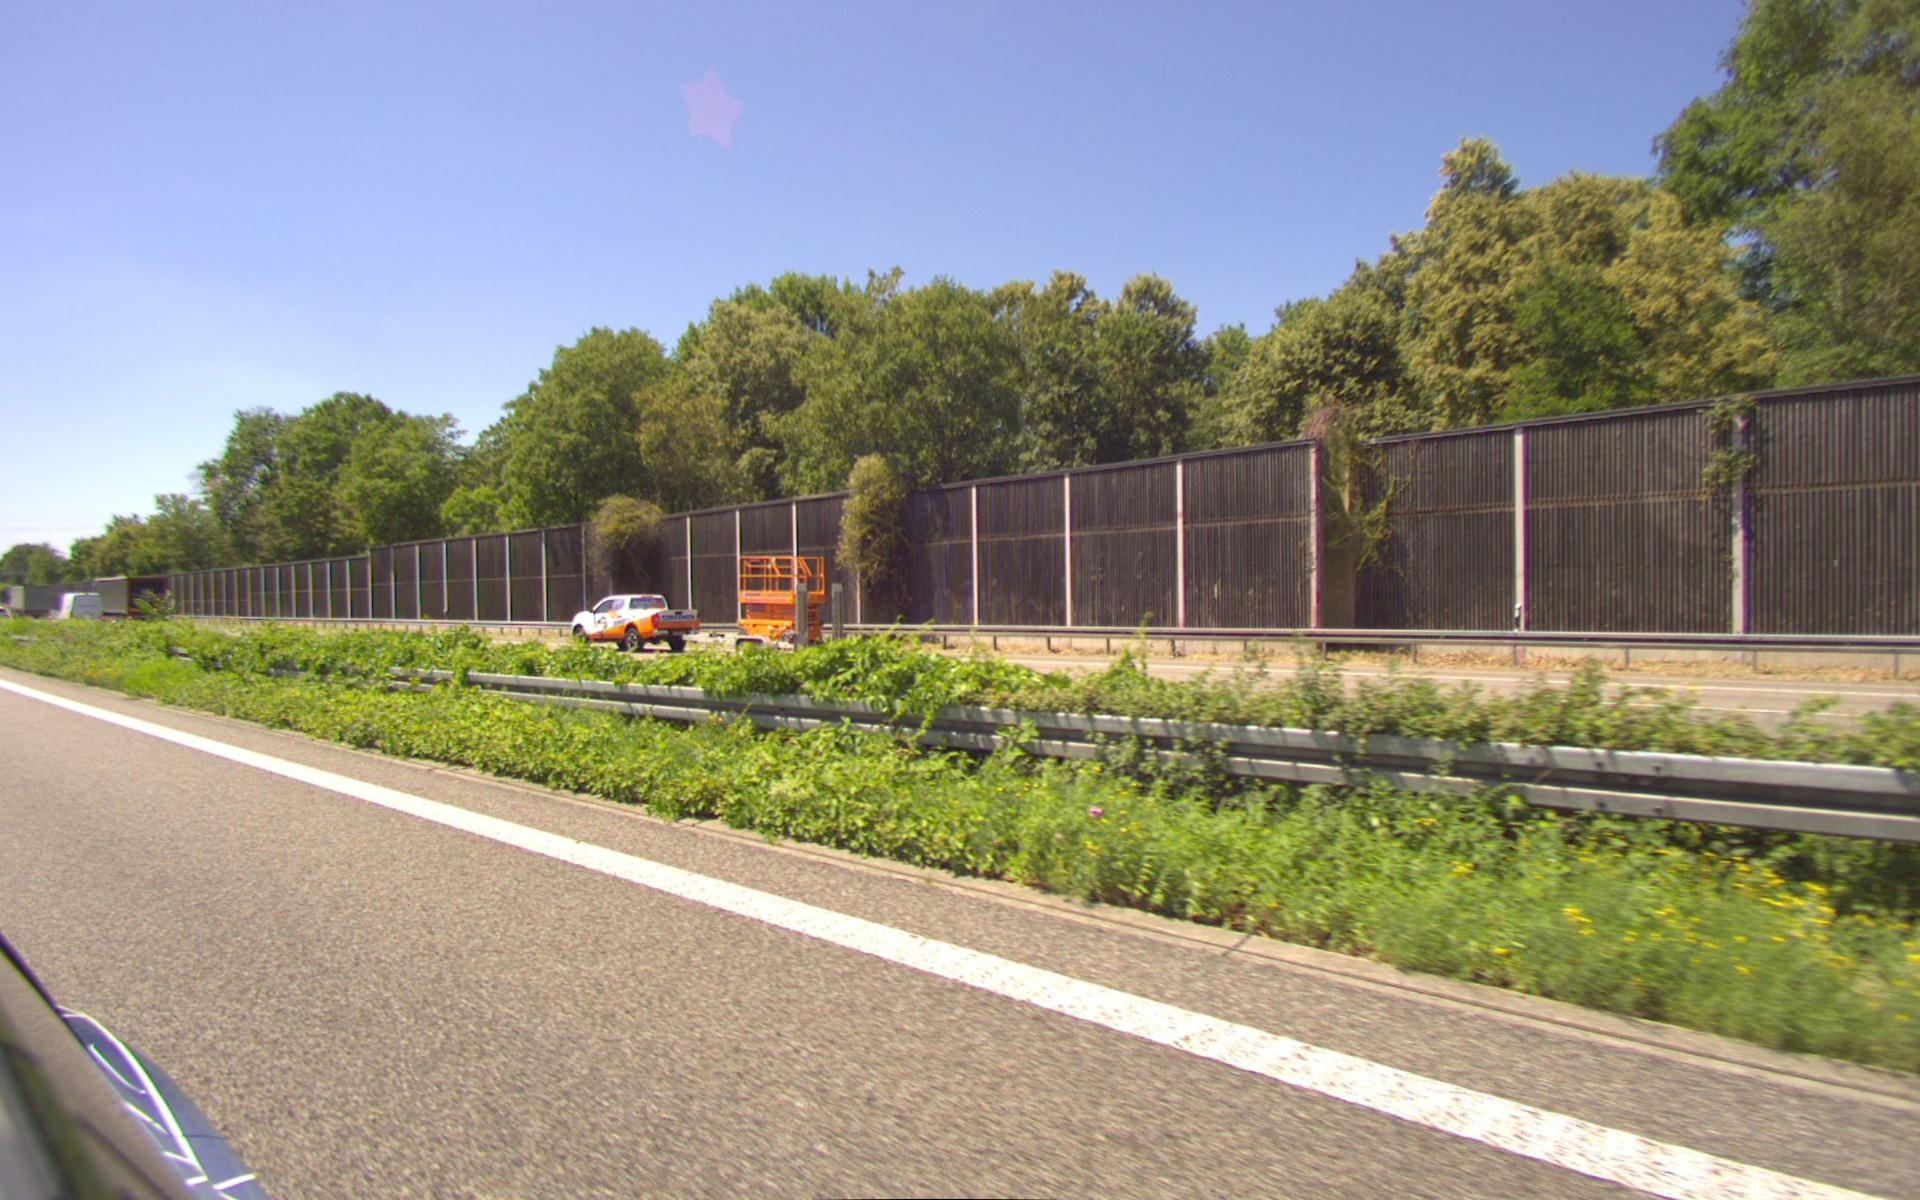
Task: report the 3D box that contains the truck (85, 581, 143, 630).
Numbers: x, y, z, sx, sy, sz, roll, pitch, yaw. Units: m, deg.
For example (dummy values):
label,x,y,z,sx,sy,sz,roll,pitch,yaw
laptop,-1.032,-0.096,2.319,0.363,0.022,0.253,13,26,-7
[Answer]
label,x,y,z,sx,sy,sz,roll,pitch,yaw
truck,-73.764,0.479,88.176,6.113,4.123,2.869,-1,0,40

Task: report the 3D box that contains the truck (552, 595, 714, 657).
label,x,y,z,sx,sy,sz,roll,pitch,yaw
truck,-10.755,0.808,32.968,6.207,1.830,2.079,-1,-1,41

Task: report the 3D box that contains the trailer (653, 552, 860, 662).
label,x,y,z,sx,sy,sz,roll,pitch,yaw
trailer,-5.917,0.227,28.774,6.505,2.797,2.219,-1,-1,40

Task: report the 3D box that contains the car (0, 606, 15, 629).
label,x,y,z,sx,sy,sz,roll,pitch,yaw
car,-75.984,1.384,79.474,5.020,1.733,1.975,-1,1,40

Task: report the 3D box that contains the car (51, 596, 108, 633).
label,x,y,z,sx,sy,sz,roll,pitch,yaw
car,-65.099,1.088,74.776,6.784,2.559,2.143,-1,1,40

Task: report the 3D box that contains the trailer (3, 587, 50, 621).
label,x,y,z,sx,sy,sz,roll,pitch,yaw
trailer,-117.829,0.581,127.642,13.800,4.060,2.931,-1,0,41

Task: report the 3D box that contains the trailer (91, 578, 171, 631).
label,x,y,z,sx,sy,sz,roll,pitch,yaw
trailer,-69.120,0.431,84.184,13.324,4.123,2.869,-1,0,41

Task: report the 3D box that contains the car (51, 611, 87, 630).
label,x,y,z,sx,sy,sz,roll,pitch,yaw
car,-92.522,2.071,105.032,5.955,1.895,1.973,-1,0,40
